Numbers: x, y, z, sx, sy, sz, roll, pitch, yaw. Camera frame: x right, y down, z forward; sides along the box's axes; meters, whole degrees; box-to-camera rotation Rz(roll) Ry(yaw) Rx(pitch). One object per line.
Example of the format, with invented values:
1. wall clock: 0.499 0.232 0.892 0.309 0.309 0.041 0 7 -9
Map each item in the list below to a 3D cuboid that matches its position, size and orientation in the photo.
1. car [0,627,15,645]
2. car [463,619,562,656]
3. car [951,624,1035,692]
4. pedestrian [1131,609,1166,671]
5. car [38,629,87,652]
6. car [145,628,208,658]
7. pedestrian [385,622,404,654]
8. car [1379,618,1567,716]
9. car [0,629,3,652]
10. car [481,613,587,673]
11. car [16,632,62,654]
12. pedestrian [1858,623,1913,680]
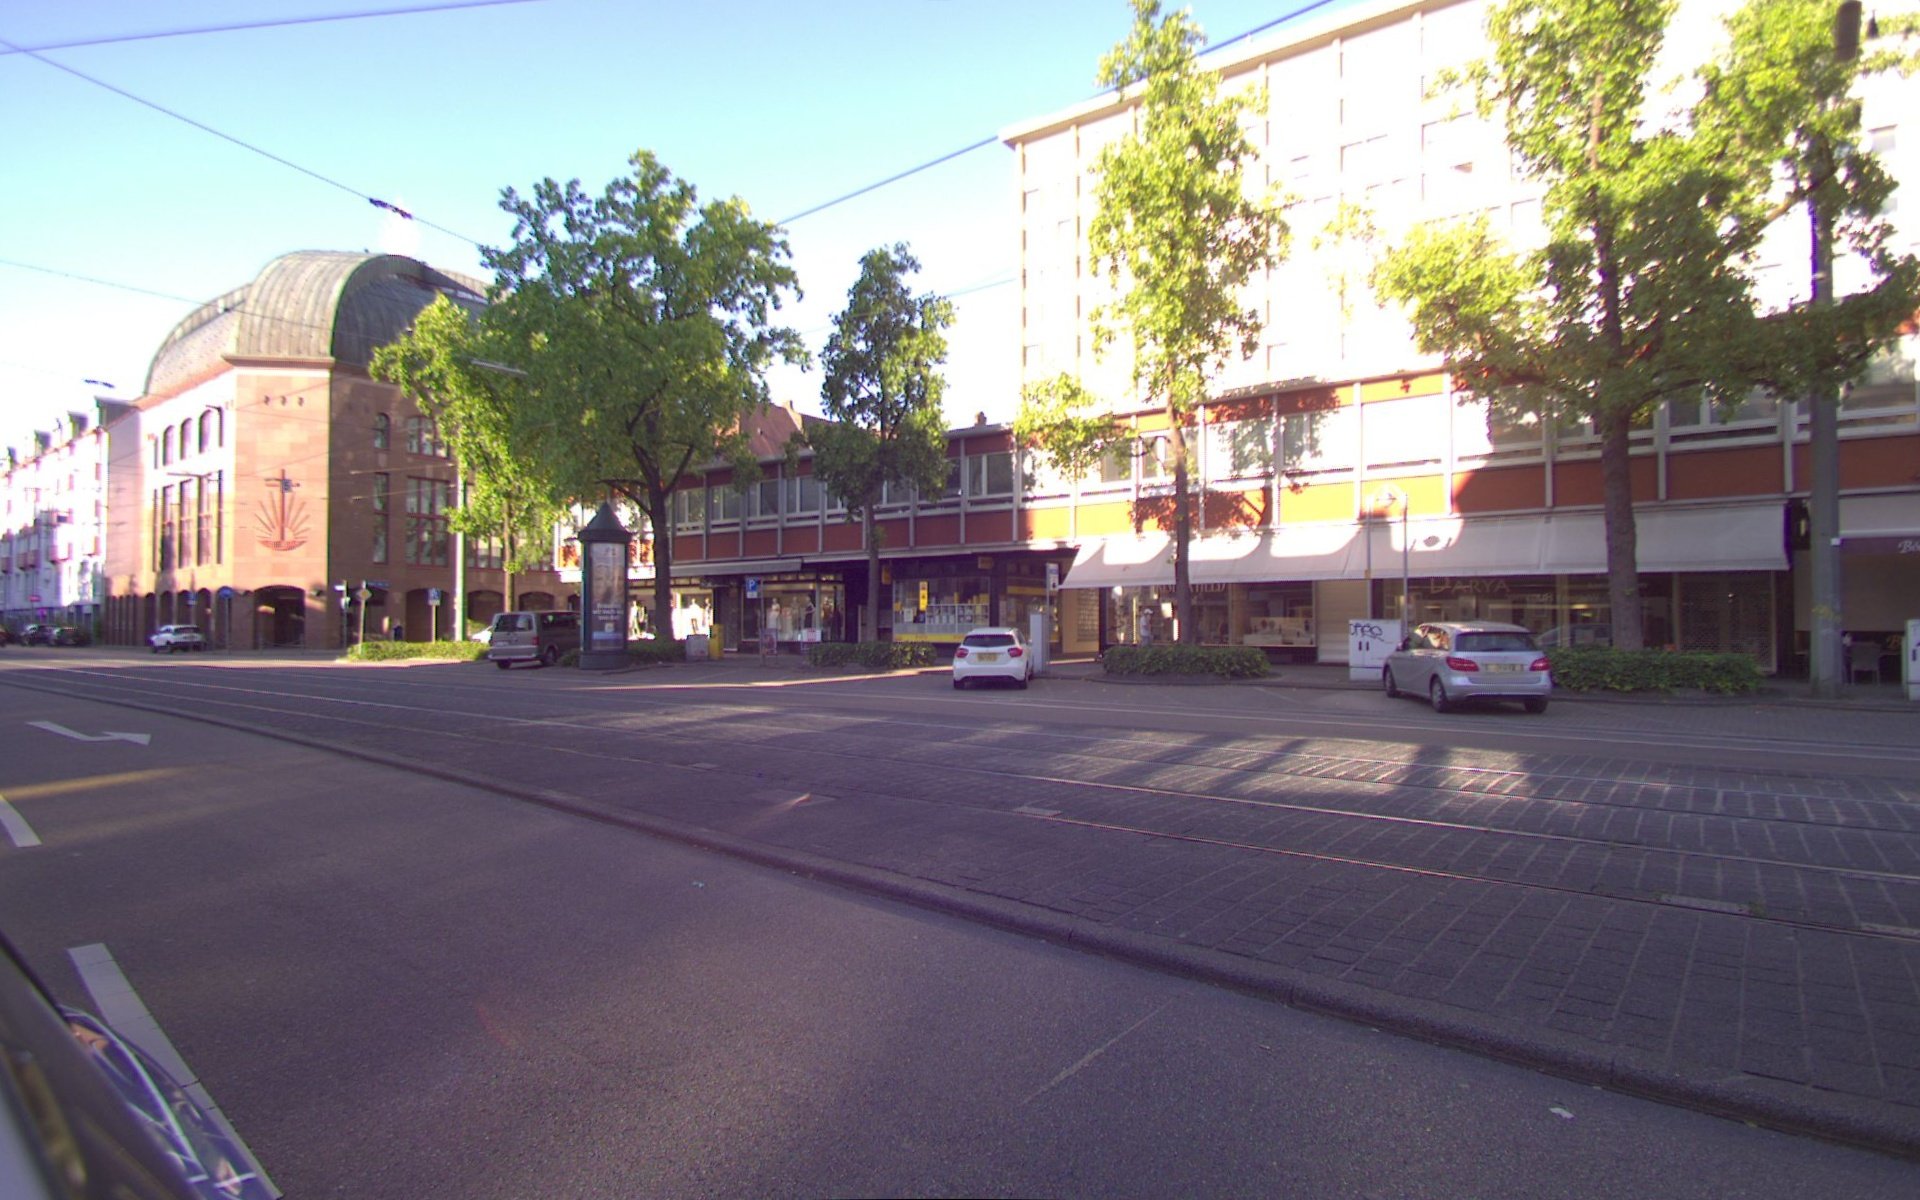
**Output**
1. car: -86.103 3.220 90.289 3.992 1.615 1.942 -1 -1 36
2. car: -25.864 2.148 58.687 1.996 2.029 4.926 -1 -2 36
3. car: 0.892 1.386 25.219 1.776 1.486 3.992 -1 -1 6
4. pedestrian: 5.484 1.152 29.392 0.626 1.782 0.770 1 -1 -36
5. car: -66.489 2.965 74.947 3.992 1.615 1.942 -1 -1 36
6. car: -45.176 2.441 58.319 3.992 1.615 1.888 -1 -1 36
7. pedestrian: -31.015 2.067 55.494 0.548 1.761 0.780 -2 -3 41
8. car: 9.289 1.144 18.708 1.776 1.566 3.992 -1 -1 6
9. car: -68.170 2.818 70.167 3.992 1.615 1.942 -1 -1 36
10. car: -14.877 1.451 35.569 1.886 1.979 3.996 -1 -1 3
11. car: -71.668 3.295 78.745 3.992 1.615 1.942 -1 -1 36
12. pedestrian: 19.525 1.079 21.369 0.726 1.181 0.770 -1 -2 35
